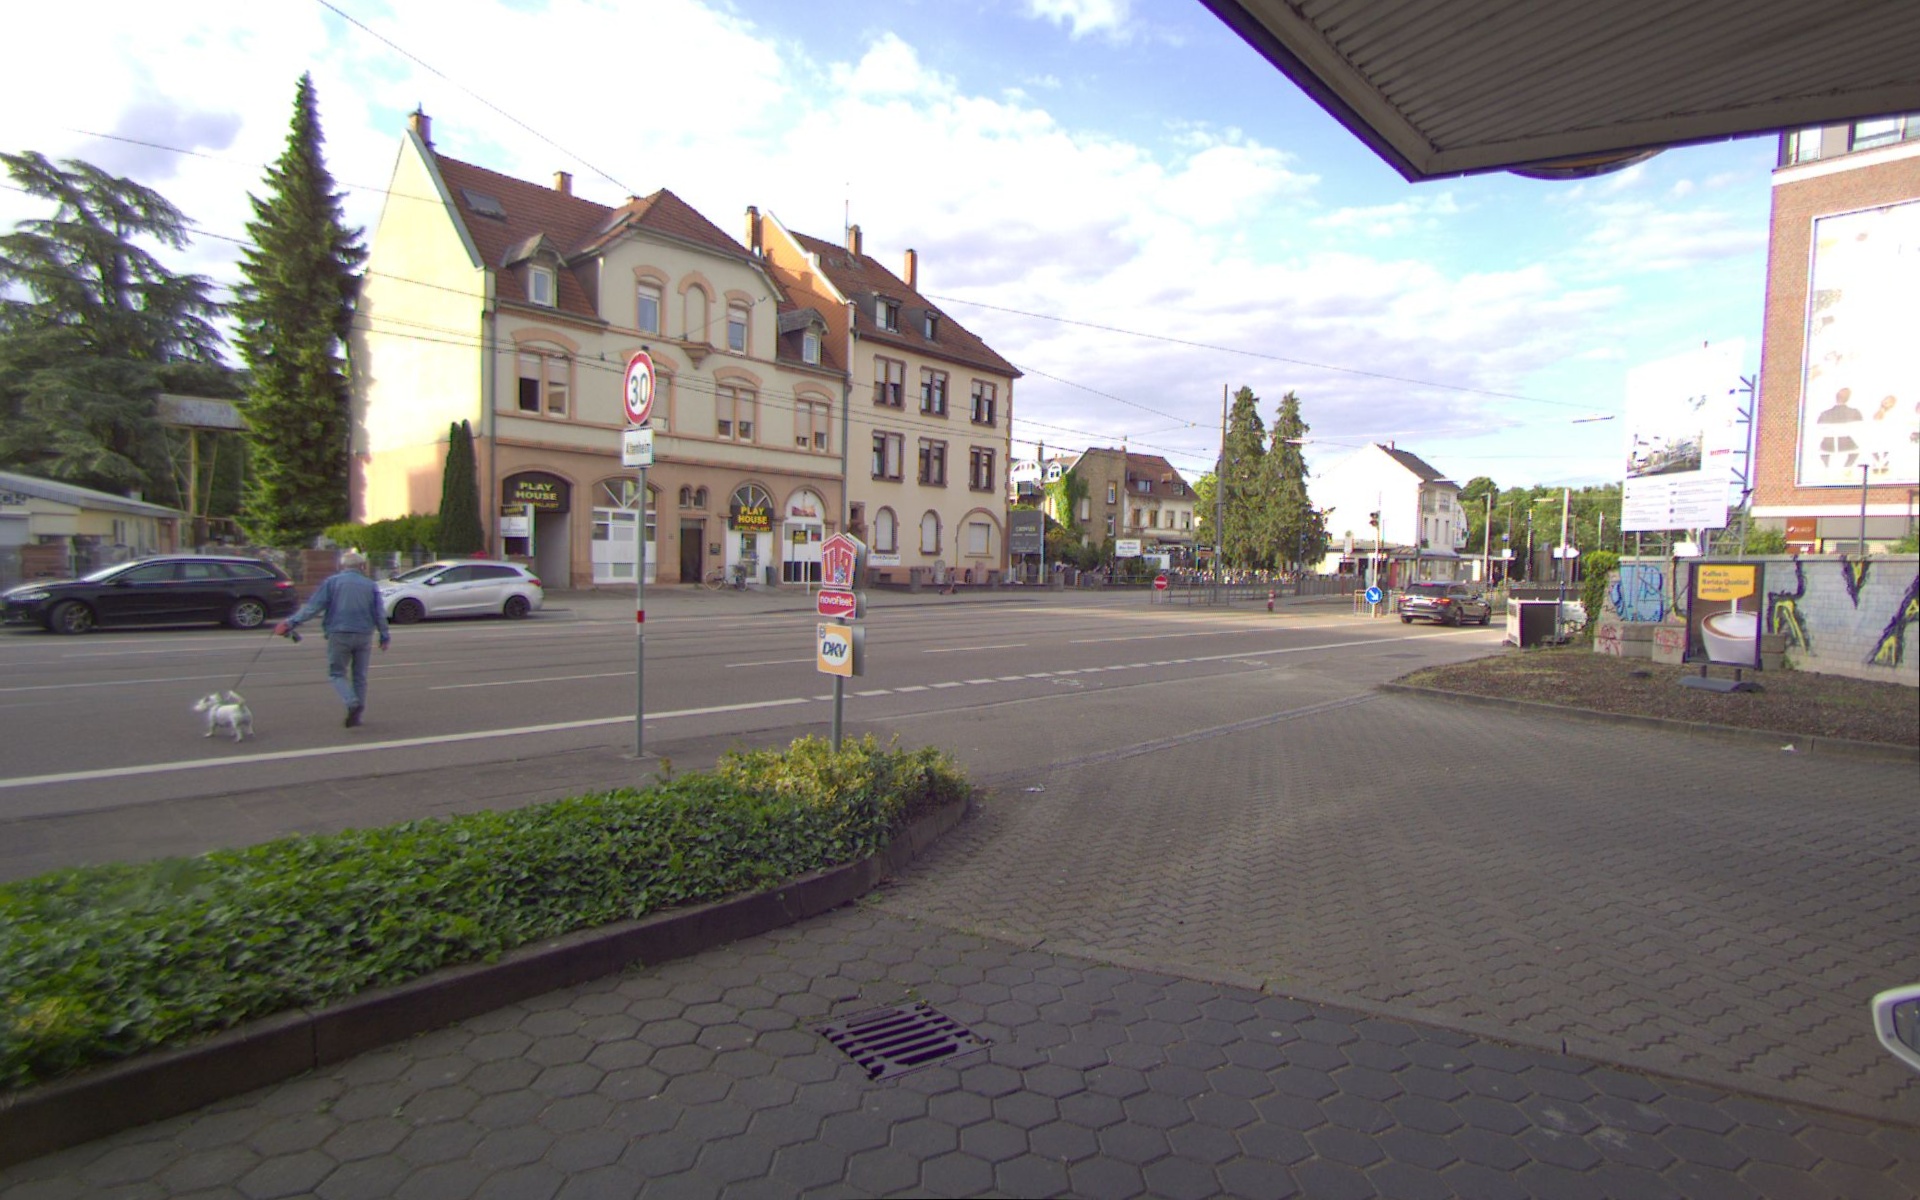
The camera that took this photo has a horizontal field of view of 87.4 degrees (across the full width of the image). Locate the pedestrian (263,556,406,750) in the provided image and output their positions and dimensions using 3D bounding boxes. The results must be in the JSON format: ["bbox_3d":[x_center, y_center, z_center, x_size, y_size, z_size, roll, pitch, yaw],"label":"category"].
[{"bbox_3d":[-5.991,0.452,9.627,0.996,1.691,0.959,-2,6,-42],"label":"pedestrian"}]

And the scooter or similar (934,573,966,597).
[{"bbox_3d":[-0.437,-0.666,45.108,0.461,1.041,1.655,4,3,40],"label":"scooter or similar"}]

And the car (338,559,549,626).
[{"bbox_3d":[-12.922,-0.237,25.353,1.699,1.503,4.434,4,4,40],"label":"car"}]

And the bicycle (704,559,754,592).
[{"bbox_3d":[-9.108,-0.958,39.607,0.665,1.229,1.862,4,2,41],"label":"bicycle"}]

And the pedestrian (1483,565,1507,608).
[{"bbox_3d":[26.103,-0.641,49.016,0.797,2.040,0.846,2,0,42],"label":"pedestrian"}]

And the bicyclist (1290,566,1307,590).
[{"bbox_3d":[22.401,-1.452,66.415,0.671,1.555,1.079,2,2,41],"label":"bicyclist"}]

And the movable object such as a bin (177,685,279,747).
[{"bbox_3d":[-6.636,1.039,9.109,0.667,0.426,0.480,4,3,25],"label":"movable object such as a bin"}]

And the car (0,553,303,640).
[{"bbox_3d":[-16.602,-0.142,20.731,1.983,1.520,4.755,4,4,39],"label":"car"}]

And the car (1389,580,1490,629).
[{"bbox_3d":[16.082,0.109,33.581,1.730,1.488,4.543,4,3,43],"label":"car"}]

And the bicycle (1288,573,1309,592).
[{"bbox_3d":[22.396,-1.166,66.421,0.670,1.239,1.909,2,2,41],"label":"bicycle"}]
